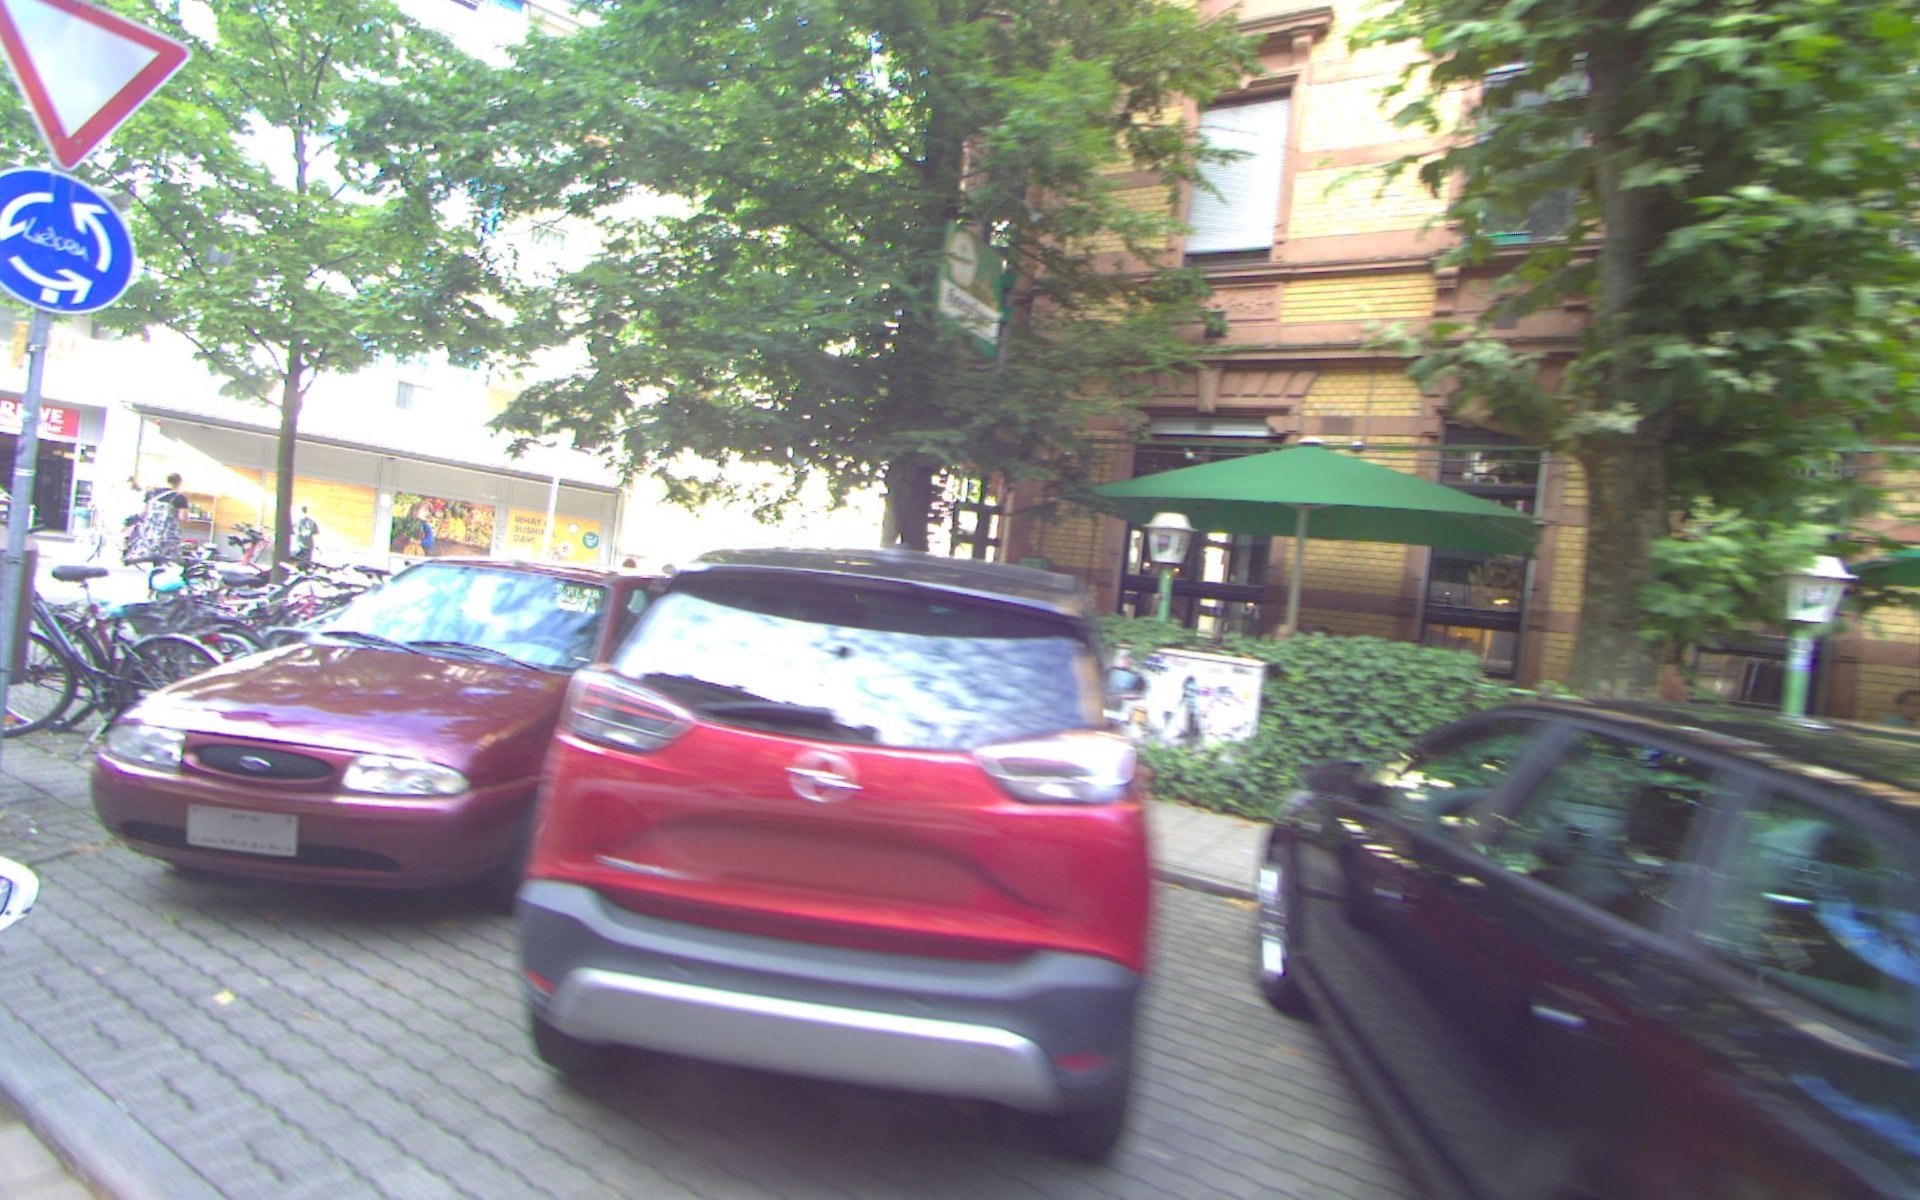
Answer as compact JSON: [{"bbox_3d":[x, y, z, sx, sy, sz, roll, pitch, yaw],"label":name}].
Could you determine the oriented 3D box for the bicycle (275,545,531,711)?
[{"bbox_3d":[-4.323,0.208,7.835,1.764,1.089,0.354,6,4,1],"label":"bicycle"}]

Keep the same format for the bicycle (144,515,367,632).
[{"bbox_3d":[-8.040,-0.268,11.571,0.642,1.108,1.925,7,0,35],"label":"bicycle"}]

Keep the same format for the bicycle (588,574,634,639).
[{"bbox_3d":[-6.591,0.101,18.943,0.475,1.116,2.015,6,-2,-26],"label":"bicycle"}]

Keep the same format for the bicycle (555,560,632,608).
[{"bbox_3d":[-10.406,-0.436,28.653,0.477,1.155,2.141,8,1,31],"label":"bicycle"}]

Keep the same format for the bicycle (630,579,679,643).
[{"bbox_3d":[-5.913,0.183,19.410,0.475,1.103,2.072,6,-1,-26],"label":"bicycle"}]

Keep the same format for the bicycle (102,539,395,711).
[{"bbox_3d":[-5.268,0.177,7.479,1.885,1.054,0.389,6,4,1],"label":"bicycle"}]

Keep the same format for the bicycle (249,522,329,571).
[{"bbox_3d":[-18.068,-1.430,27.120,1.661,1.063,0.456,7,1,-20],"label":"bicycle"}]

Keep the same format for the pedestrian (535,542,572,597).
[{"bbox_3d":[-12.545,-0.935,31.010,0.742,1.568,0.725,8,0,-33],"label":"pedestrian"}]

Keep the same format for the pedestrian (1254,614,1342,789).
[{"bbox_3d":[3.319,0.978,9.858,0.560,1.590,0.629,7,1,27],"label":"pedestrian"}]

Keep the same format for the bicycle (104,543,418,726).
[{"bbox_3d":[-4.863,0.224,7.035,1.870,1.054,0.444,6,4,1],"label":"bicycle"}]

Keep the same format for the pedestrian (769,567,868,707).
[{"bbox_3d":[-1.485,0.390,10.621,0.618,1.368,0.671,7,1,27],"label":"pedestrian"}]

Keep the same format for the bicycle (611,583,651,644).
[{"bbox_3d":[-6.319,0.231,19.279,0.337,1.066,2.029,6,-1,-26],"label":"bicycle"}]

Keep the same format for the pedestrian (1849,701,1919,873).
[{"bbox_3d":[7.443,1.453,7.746,0.638,1.236,0.488,7,3,22],"label":"pedestrian"}]

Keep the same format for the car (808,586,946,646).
[{"bbox_3d":[-2.719,0.518,33.173,3.927,1.440,1.999,7,0,22],"label":"car"}]

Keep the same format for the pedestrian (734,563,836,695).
[{"bbox_3d":[-1.982,0.329,11.438,0.745,1.375,0.674,7,1,26],"label":"pedestrian"}]

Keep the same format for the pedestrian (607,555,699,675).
[{"bbox_3d":[-3.728,0.190,12.243,0.586,1.359,0.758,7,1,26],"label":"pedestrian"}]

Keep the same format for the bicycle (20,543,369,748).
[{"bbox_3d":[-4.817,0.269,6.347,1.980,1.054,0.347,6,4,4],"label":"bicycle"}]

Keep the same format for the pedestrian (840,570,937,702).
[{"bbox_3d":[-0.836,0.426,11.809,0.745,1.424,0.673,7,1,27],"label":"pedestrian"}]

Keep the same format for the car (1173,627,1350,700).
[{"bbox_3d":[8.415,1.758,28.439,1.982,1.433,4.383,7,0,-36],"label":"car"}]

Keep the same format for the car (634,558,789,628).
[{"bbox_3d":[-7.358,-0.210,29.765,3.927,1.529,1.999,7,0,24],"label":"car"}]

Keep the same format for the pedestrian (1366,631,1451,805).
[{"bbox_3d":[4.418,1.136,9.893,0.560,1.590,0.629,7,1,27],"label":"pedestrian"}]

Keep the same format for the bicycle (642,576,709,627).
[{"bbox_3d":[-7.758,0.059,27.484,1.553,1.154,0.568,10,-2,-43],"label":"bicycle"}]

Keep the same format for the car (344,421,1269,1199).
[{"bbox_3d":[-0.180,0.517,4.252,1.787,1.667,4.352,7,2,5],"label":"car"}]

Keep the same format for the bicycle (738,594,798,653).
[{"bbox_3d":[-3.956,0.466,20.652,0.338,1.024,1.601,6,1,-41],"label":"bicycle"}]

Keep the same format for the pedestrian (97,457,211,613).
[{"bbox_3d":[-10.125,-0.800,12.674,0.773,1.802,0.789,6,1,-21],"label":"pedestrian"}]

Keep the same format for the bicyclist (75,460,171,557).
[{"bbox_3d":[-16.276,-1.751,19.588,1.000,1.689,0.940,7,1,-15],"label":"bicyclist"}]

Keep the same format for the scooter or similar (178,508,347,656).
[{"bbox_3d":[-6.878,-0.171,9.968,1.237,1.290,0.658,7,1,-35],"label":"scooter or similar"}]

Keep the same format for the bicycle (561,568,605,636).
[{"bbox_3d":[-7.039,0.022,18.722,0.424,1.170,1.985,6,-2,-27],"label":"bicycle"}]

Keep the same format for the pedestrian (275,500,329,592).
[{"bbox_3d":[-13.471,-1.105,20.597,0.765,1.760,0.627,8,1,43],"label":"pedestrian"}]

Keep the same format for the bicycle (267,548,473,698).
[{"bbox_3d":[-4.767,0.176,8.148,1.429,1.054,0.336,6,4,1],"label":"bicycle"}]

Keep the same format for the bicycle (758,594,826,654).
[{"bbox_3d":[-3.519,0.484,20.989,0.424,1.094,1.830,6,-1,-40],"label":"bicycle"}]

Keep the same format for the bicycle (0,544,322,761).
[{"bbox_3d":[-4.846,0.288,5.955,1.822,1.054,0.460,6,4,1],"label":"bicycle"}]

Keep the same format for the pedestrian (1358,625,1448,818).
[{"bbox_3d":[4.108,1.088,9.312,0.554,1.664,0.646,7,3,27],"label":"pedestrian"}]

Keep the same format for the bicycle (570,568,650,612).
[{"bbox_3d":[-9.845,-0.266,28.377,0.740,1.045,2.058,8,1,31],"label":"bicycle"}]

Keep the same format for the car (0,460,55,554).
[{"bbox_3d":[-20.446,-2.054,18.863,4.762,1.747,2.038,7,2,-7],"label":"car"}]

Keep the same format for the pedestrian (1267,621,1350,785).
[{"bbox_3d":[3.636,1.053,10.484,0.560,1.590,0.629,7,1,27],"label":"pedestrian"}]

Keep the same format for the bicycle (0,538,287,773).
[{"bbox_3d":[-4.764,0.265,5.458,1.822,1.054,0.549,6,4,1],"label":"bicycle"}]

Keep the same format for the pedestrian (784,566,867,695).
[{"bbox_3d":[-1.595,0.363,11.958,0.626,1.424,0.574,7,1,24],"label":"pedestrian"}]

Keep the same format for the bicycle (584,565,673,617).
[{"bbox_3d":[-9.143,-0.233,27.852,0.740,1.155,2.321,8,0,31],"label":"bicycle"}]

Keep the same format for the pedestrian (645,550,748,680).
[{"bbox_3d":[-3.121,0.185,11.944,0.690,1.424,0.798,7,1,27],"label":"pedestrian"}]

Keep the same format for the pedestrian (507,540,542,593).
[{"bbox_3d":[-13.167,-1.012,30.438,0.745,1.498,0.581,6,1,-34],"label":"pedestrian"}]

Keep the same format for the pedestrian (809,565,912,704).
[{"bbox_3d":[-1.103,0.383,11.215,0.745,1.424,0.673,7,1,27],"label":"pedestrian"}]

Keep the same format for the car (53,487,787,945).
[{"bbox_3d":[-2.351,0.451,5.682,1.736,1.474,3.945,7,0,3],"label":"car"}]

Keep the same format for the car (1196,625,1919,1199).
[{"bbox_3d":[1.973,0.934,2.735,1.906,1.475,4.417,7,0,6],"label":"car"}]

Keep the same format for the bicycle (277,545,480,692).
[{"bbox_3d":[-4.914,0.154,8.530,1.360,1.053,0.451,7,1,1],"label":"bicycle"}]

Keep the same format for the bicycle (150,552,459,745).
[{"bbox_3d":[-4.312,0.304,6.636,1.822,1.054,0.347,6,4,4],"label":"bicycle"}]

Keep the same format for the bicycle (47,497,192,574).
[{"bbox_3d":[-16.334,-1.230,19.598,1.945,1.214,0.710,7,1,-15],"label":"bicycle"}]

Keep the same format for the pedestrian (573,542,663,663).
[{"bbox_3d":[-4.239,0.041,12.482,0.539,1.410,0.758,7,1,26],"label":"pedestrian"}]

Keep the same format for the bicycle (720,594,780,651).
[{"bbox_3d":[-4.264,0.441,20.343,0.338,1.023,1.612,6,-1,-41],"label":"bicycle"}]

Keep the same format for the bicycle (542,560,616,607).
[{"bbox_3d":[-10.914,-0.465,28.867,0.428,1.155,2.082,8,1,31],"label":"bicycle"}]

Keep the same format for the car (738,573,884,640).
[{"bbox_3d":[-4.640,0.210,31.393,3.927,1.551,1.999,7,0,23],"label":"car"}]

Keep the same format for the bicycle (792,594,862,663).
[{"bbox_3d":[-2.552,0.519,19.134,0.561,1.144,1.837,6,-1,-29],"label":"bicycle"}]
